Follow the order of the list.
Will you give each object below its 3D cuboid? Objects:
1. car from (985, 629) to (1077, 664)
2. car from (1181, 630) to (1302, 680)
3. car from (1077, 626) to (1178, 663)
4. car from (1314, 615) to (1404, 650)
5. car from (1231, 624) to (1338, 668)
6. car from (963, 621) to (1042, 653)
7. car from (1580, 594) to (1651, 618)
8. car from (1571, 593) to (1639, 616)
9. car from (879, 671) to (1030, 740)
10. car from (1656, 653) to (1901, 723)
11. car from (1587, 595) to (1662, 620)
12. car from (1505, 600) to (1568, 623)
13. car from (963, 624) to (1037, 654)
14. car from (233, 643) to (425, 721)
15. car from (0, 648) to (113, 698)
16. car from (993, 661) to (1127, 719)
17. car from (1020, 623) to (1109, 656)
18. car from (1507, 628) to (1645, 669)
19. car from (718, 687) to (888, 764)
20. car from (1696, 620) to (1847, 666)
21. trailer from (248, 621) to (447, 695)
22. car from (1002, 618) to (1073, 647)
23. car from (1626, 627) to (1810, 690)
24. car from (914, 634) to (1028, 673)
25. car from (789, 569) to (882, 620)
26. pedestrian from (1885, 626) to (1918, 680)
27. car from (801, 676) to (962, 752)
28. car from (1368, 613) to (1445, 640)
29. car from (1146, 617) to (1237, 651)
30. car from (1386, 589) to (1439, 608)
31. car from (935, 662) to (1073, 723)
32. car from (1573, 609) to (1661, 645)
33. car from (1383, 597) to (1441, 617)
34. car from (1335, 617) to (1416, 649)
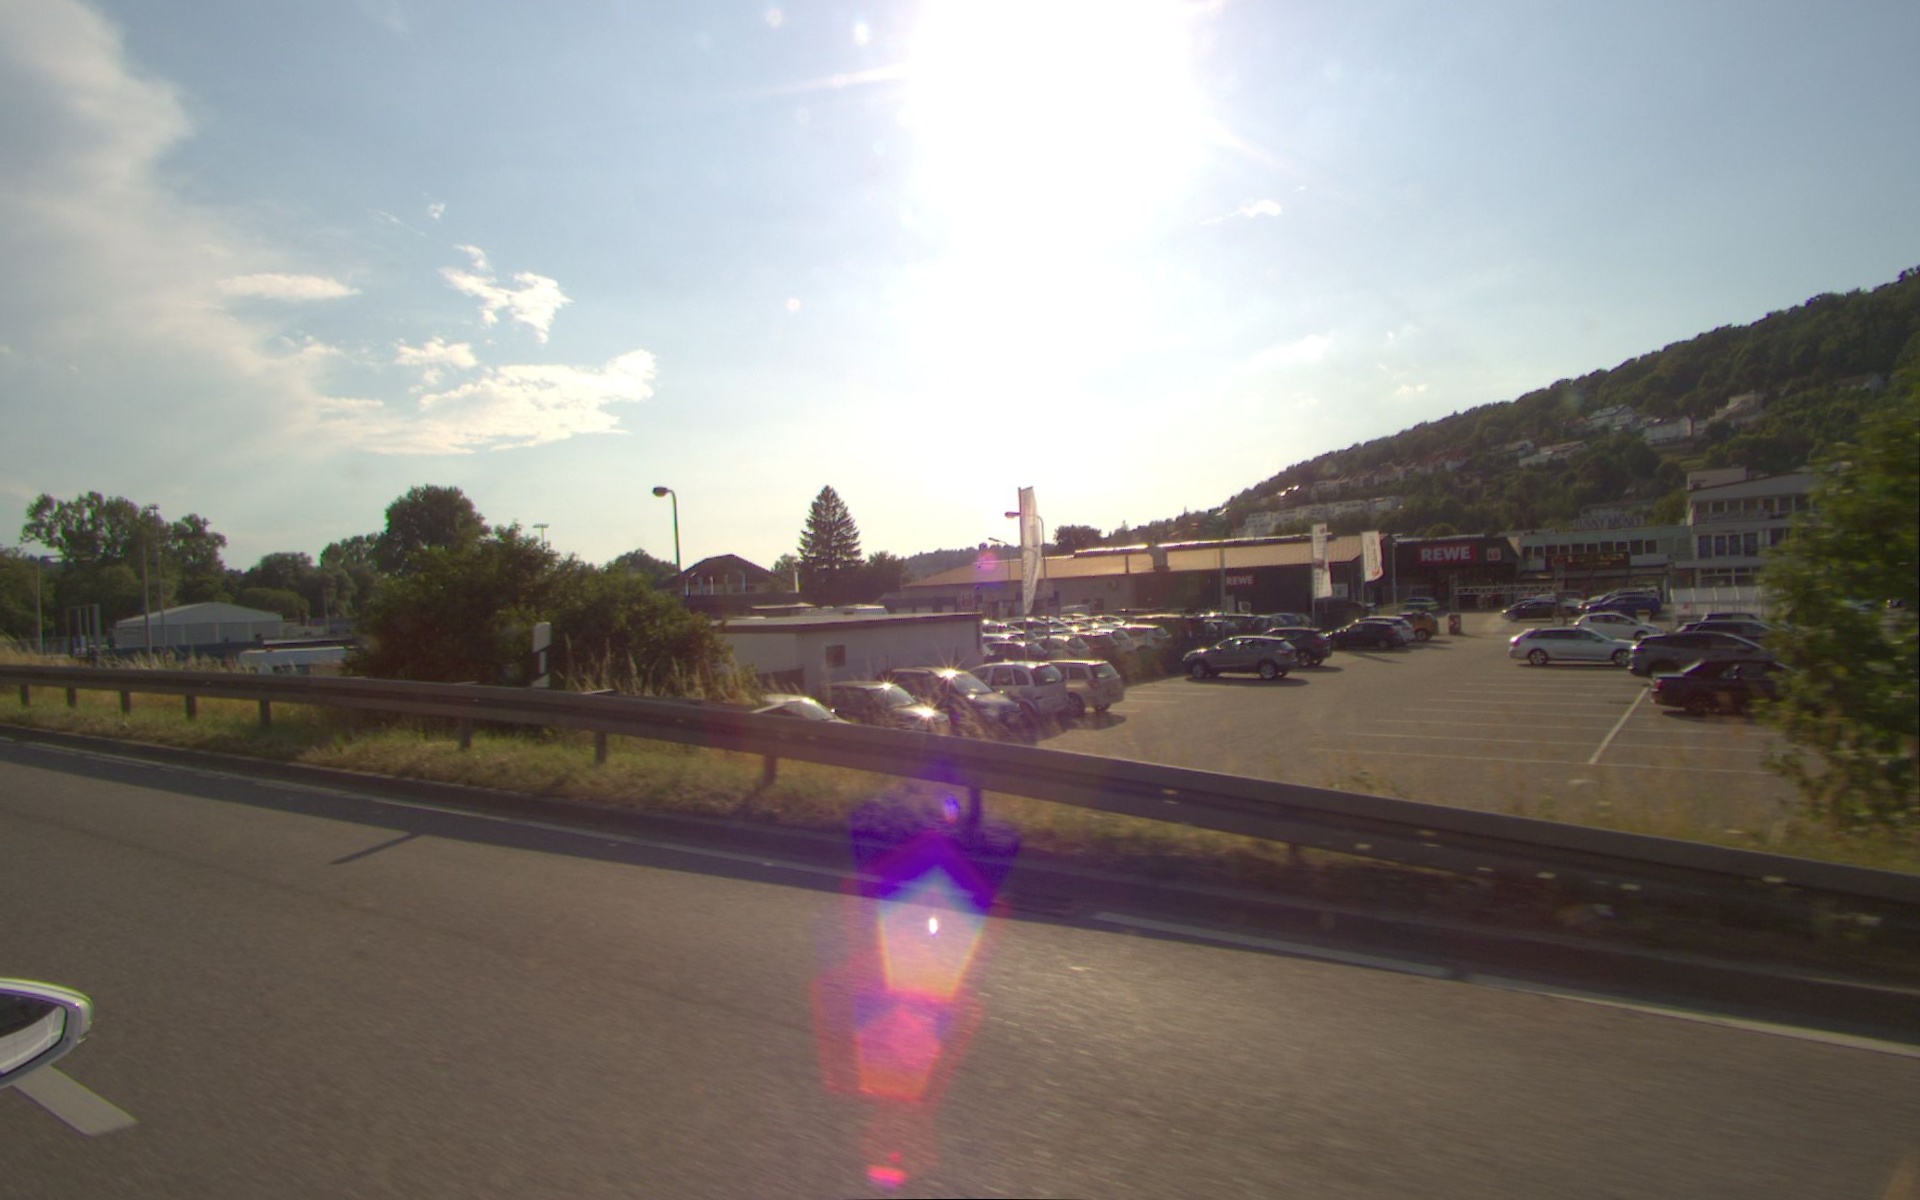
[{"bbox_3d":[3.287,2.159,46.585,3.949,1.527,1.719,-2,-2,36],"label":"car"},{"bbox_3d":[10.697,2.088,38.100,4.071,1.725,1.827,-2,1,32],"label":"car"},{"bbox_3d":[7.210,1.915,43.181,3.945,1.527,1.721,-2,-2,33],"label":"car"},{"bbox_3d":[21.183,1.734,53.204,4.078,1.725,1.824,-2,1,37],"label":"car"},{"bbox_3d":[14.057,2.002,43.373,4.071,1.725,1.827,-2,1,32],"label":"car"},{"bbox_3d":[2.349,2.007,55.111,4.114,1.650,1.727,-2,-1,10],"label":"car"},{"bbox_3d":[47.793,0.454,73.103,4.279,1.584,1.827,-2,1,32],"label":"car"},{"bbox_3d":[48.688,0.343,75.679,4.279,1.584,1.827,-2,1,32],"label":"car"},{"bbox_3d":[-0.162,2.559,24.890,3.539,1.503,1.524,-2,-2,36],"label":"car"},{"bbox_3d":[19.110,2.024,23.682,4.285,1.391,1.988,-2,0,34],"label":"car"},{"bbox_3d":[46.646,0.546,70.378,4.279,1.584,1.827,-2,1,32],"label":"car"},{"bbox_3d":[42.227,0.844,73.357,3.855,1.584,1.825,-2,1,36],"label":"car"},{"bbox_3d":[2.333,2.266,57.960,4.114,1.650,1.727,-2,-1,10],"label":"car"},{"bbox_3d":[-16.817,2.125,26.868,1.810,1.839,3.976,-2,-2,34],"label":"car"},{"bbox_3d":[-41.311,3.204,44.090,1.974,2.039,5.864,-2,-2,35],"label":"car"},{"bbox_3d":[2.828,2.539,28.719,3.541,1.503,1.523,-2,-2,38],"label":"car"},{"bbox_3d":[5.050,1.943,48.672,3.949,1.527,1.719,-2,-2,36],"label":"car"},{"bbox_3d":[24.094,1.894,39.211,4.476,1.526,1.897,-2,-2,36],"label":"car"},{"bbox_3d":[-3.416,2.630,21.525,3.538,1.389,1.524,-2,-2,35],"label":"car"},{"bbox_3d":[28.654,1.526,35.512,3.945,1.527,1.721,-2,-2,33],"label":"car"},{"bbox_3d":[-30.493,2.800,50.185,3.317,3.365,7.852,-2,-2,37],"label":"trailer"},{"bbox_3d":[4.651,1.940,59.992,4.114,1.650,1.727,-2,-1,10],"label":"car"},{"bbox_3d":[22.844,1.730,30.254,4.295,1.750,1.984,-3,-2,41],"label":"car"},{"bbox_3d":[0.437,2.286,42.995,4.767,1.586,1.749,-2,-2,37],"label":"car"},{"bbox_3d":[-6.903,-0.236,55.226,5.400,2.582,1.749,-2,-2,37],"label":"car"},{"bbox_3d":[26.137,1.465,27.807,0.375,1.478,0.564,-1,-1,-31],"label":"pedestrian"},{"bbox_3d":[-1.836,2.567,23.111,3.538,1.503,1.524,-2,-2,35],"label":"car"},{"bbox_3d":[26.355,1.572,59.105,3.944,1.527,1.721,-1,-1,33],"label":"car"},{"bbox_3d":[11.173,1.658,48.443,3.949,1.527,1.719,-2,-2,36],"label":"car"},{"bbox_3d":[41.961,-0.111,92.865,4.279,1.584,1.827,-2,1,32],"label":"car"},{"bbox_3d":[1.167,2.462,27.309,3.541,1.503,1.523,-2,-2,38],"label":"car"},{"bbox_3d":[33.655,1.390,51.361,3.707,1.772,1.794,-2,-2,34],"label":"car"},{"bbox_3d":[40.792,0.618,90.363,4.520,1.609,1.827,-2,1,32],"label":"car"},{"bbox_3d":[23.013,1.828,55.513,3.888,1.584,1.826,-2,1,34],"label":"car"}]
